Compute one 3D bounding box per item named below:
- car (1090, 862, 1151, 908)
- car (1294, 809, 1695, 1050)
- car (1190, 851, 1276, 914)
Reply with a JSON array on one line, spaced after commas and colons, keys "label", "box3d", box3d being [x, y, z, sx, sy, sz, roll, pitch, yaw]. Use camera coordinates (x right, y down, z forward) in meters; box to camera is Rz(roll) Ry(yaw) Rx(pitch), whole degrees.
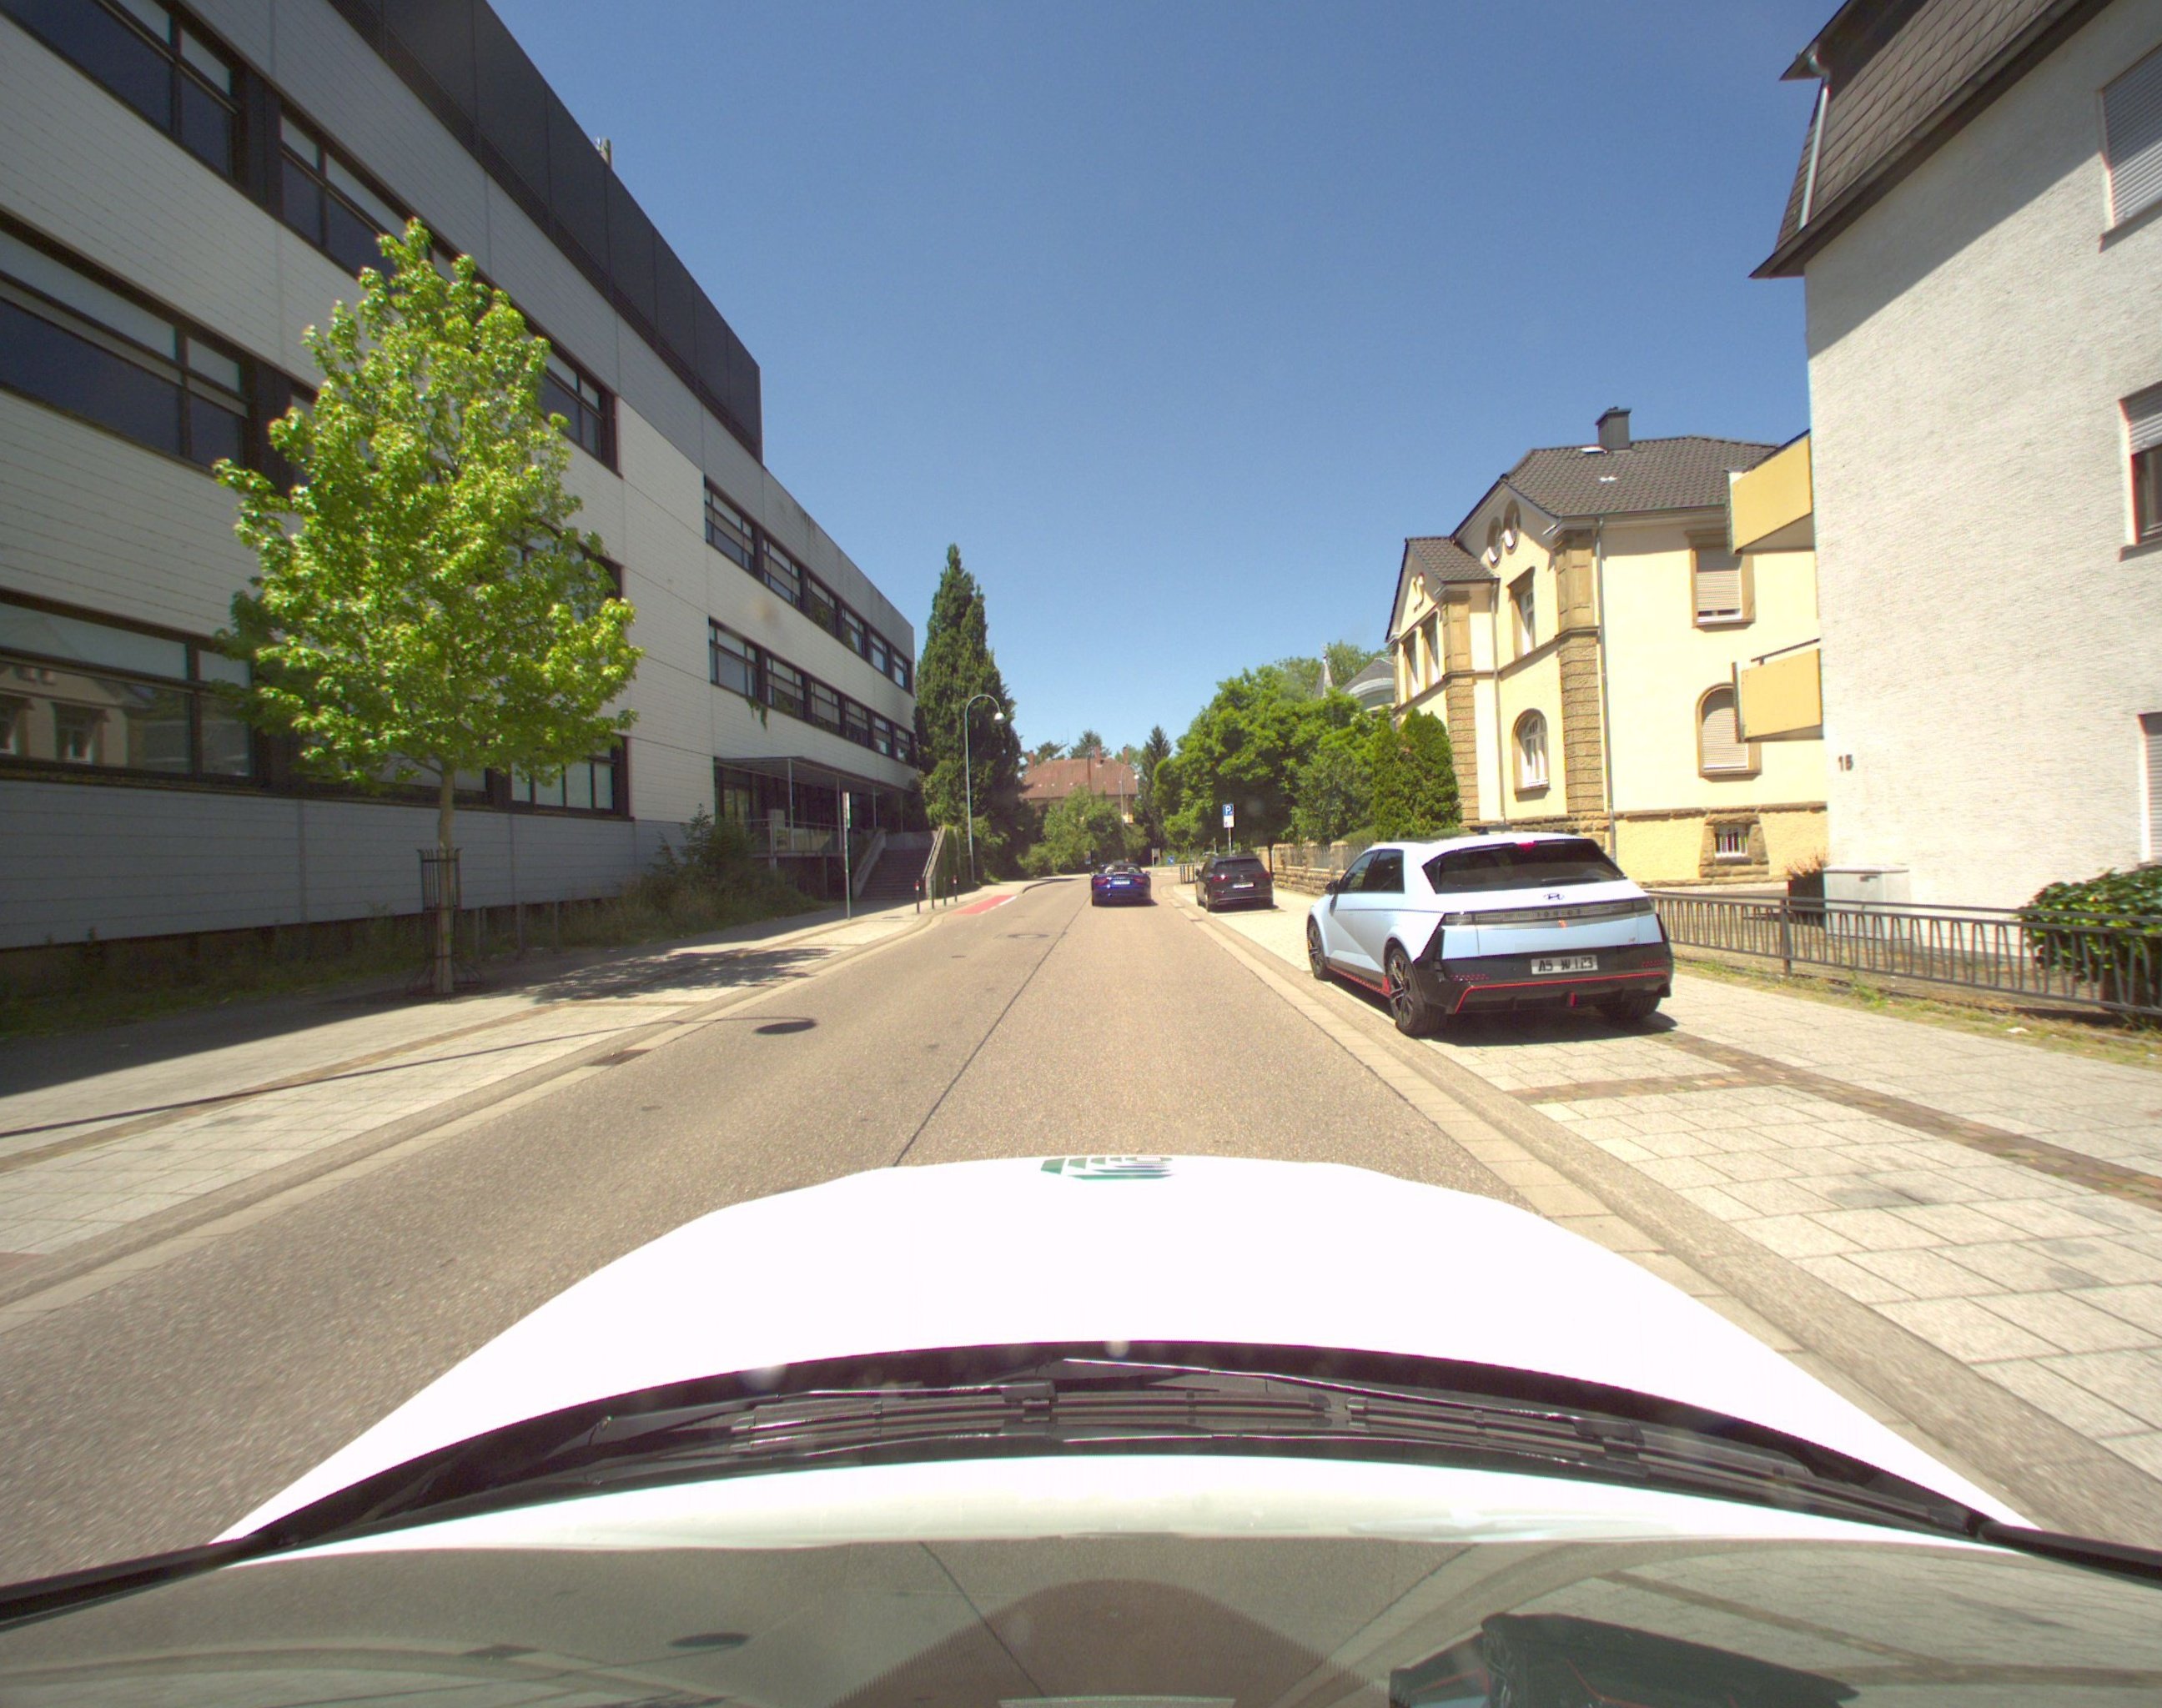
[{"label": "car", "box3d": [1.317, 0.967, 27.129, 1.819, 1.337, 4.703, -1, -1, 2]}, {"label": "car", "box3d": [3.554, 0.554, 8.100, 1.836, 1.619, 4.431, -4, 0, 3]}, {"label": "car", "box3d": [4.118, 0.727, 22.669, 1.625, 1.446, 4.400, -5, 0, 2]}]
